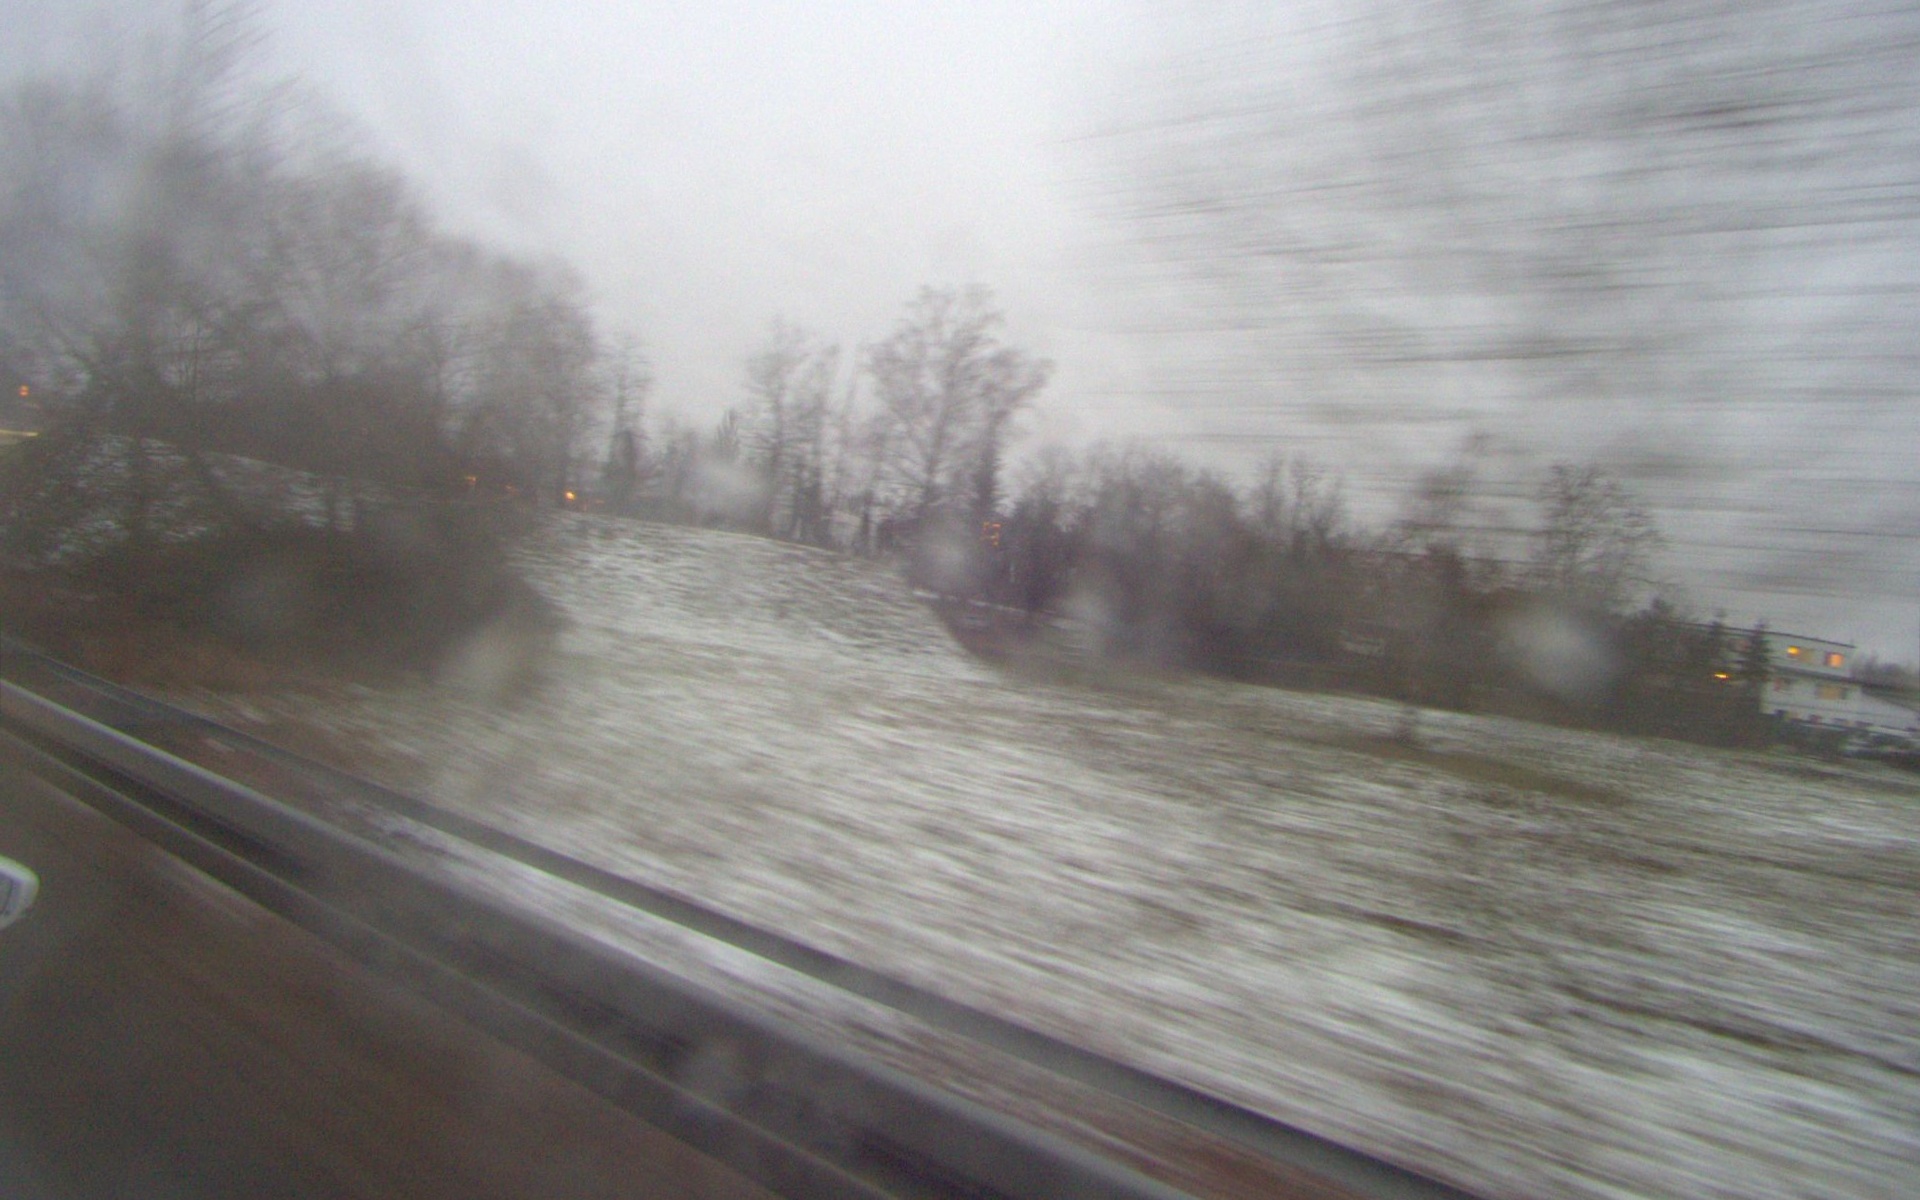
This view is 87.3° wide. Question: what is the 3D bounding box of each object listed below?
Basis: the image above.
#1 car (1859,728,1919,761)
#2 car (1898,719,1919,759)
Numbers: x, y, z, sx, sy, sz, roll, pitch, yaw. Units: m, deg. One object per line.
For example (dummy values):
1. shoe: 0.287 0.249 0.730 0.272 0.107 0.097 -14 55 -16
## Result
1. car: 71.128 11.014 75.356 2.261 1.841 5.097 7 0 -20
2. car: 75.442 10.950 76.024 2.261 2.875 6.086 7 0 -20
